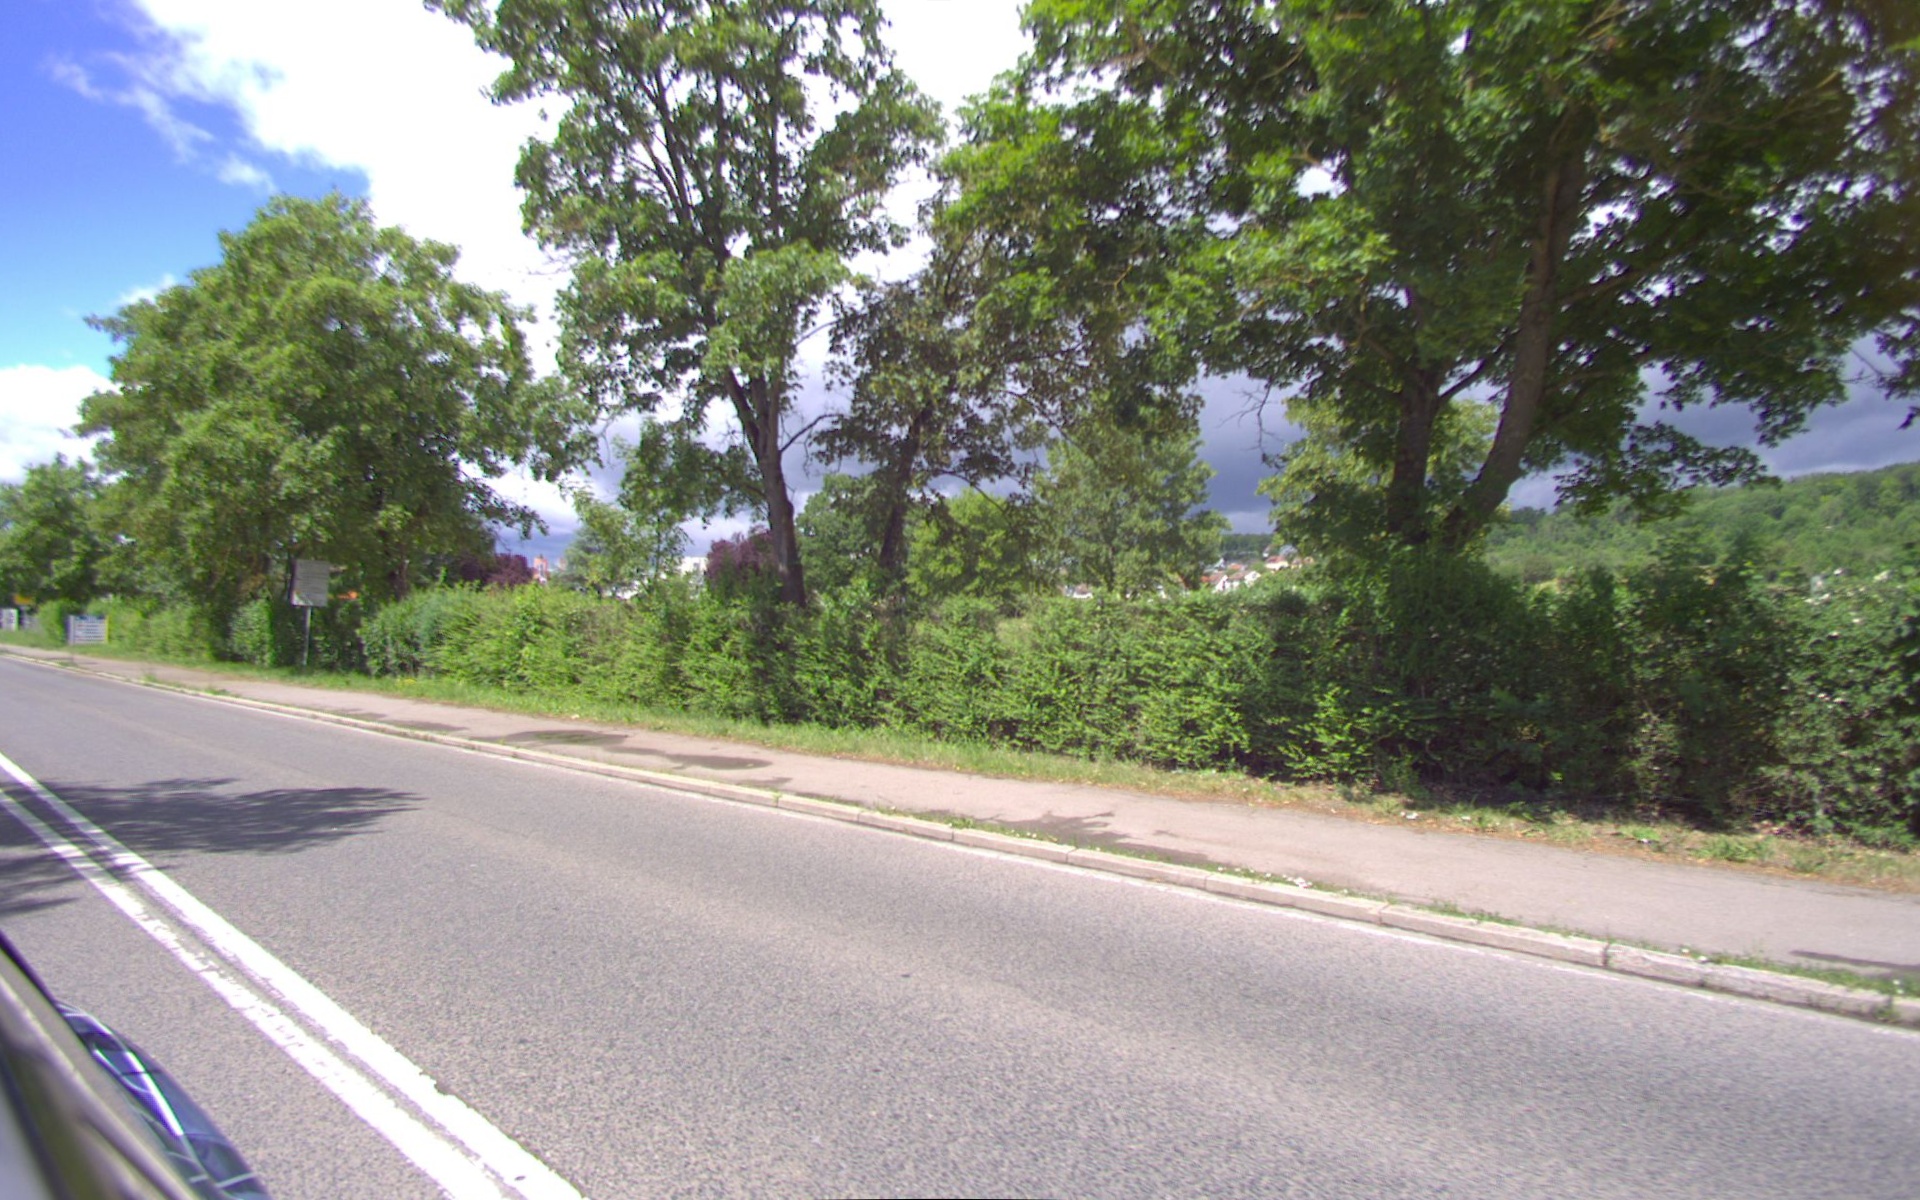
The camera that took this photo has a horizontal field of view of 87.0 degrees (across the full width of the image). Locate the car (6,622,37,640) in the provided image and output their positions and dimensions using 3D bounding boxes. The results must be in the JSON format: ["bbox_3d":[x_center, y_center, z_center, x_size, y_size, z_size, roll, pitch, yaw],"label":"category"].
[{"bbox_3d":[-91.758,3.054,98.933,4.600,1.734,1.910,-1,-2,43],"label":"car"}]

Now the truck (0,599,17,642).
[{"bbox_3d":[-88.379,1.831,90.462,2.979,3.853,5.504,-1,-2,36],"label":"truck"}]

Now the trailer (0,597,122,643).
[{"bbox_3d":[-85.591,1.917,95.627,3.301,4.114,9.385,0,-2,25],"label":"trailer"}]
